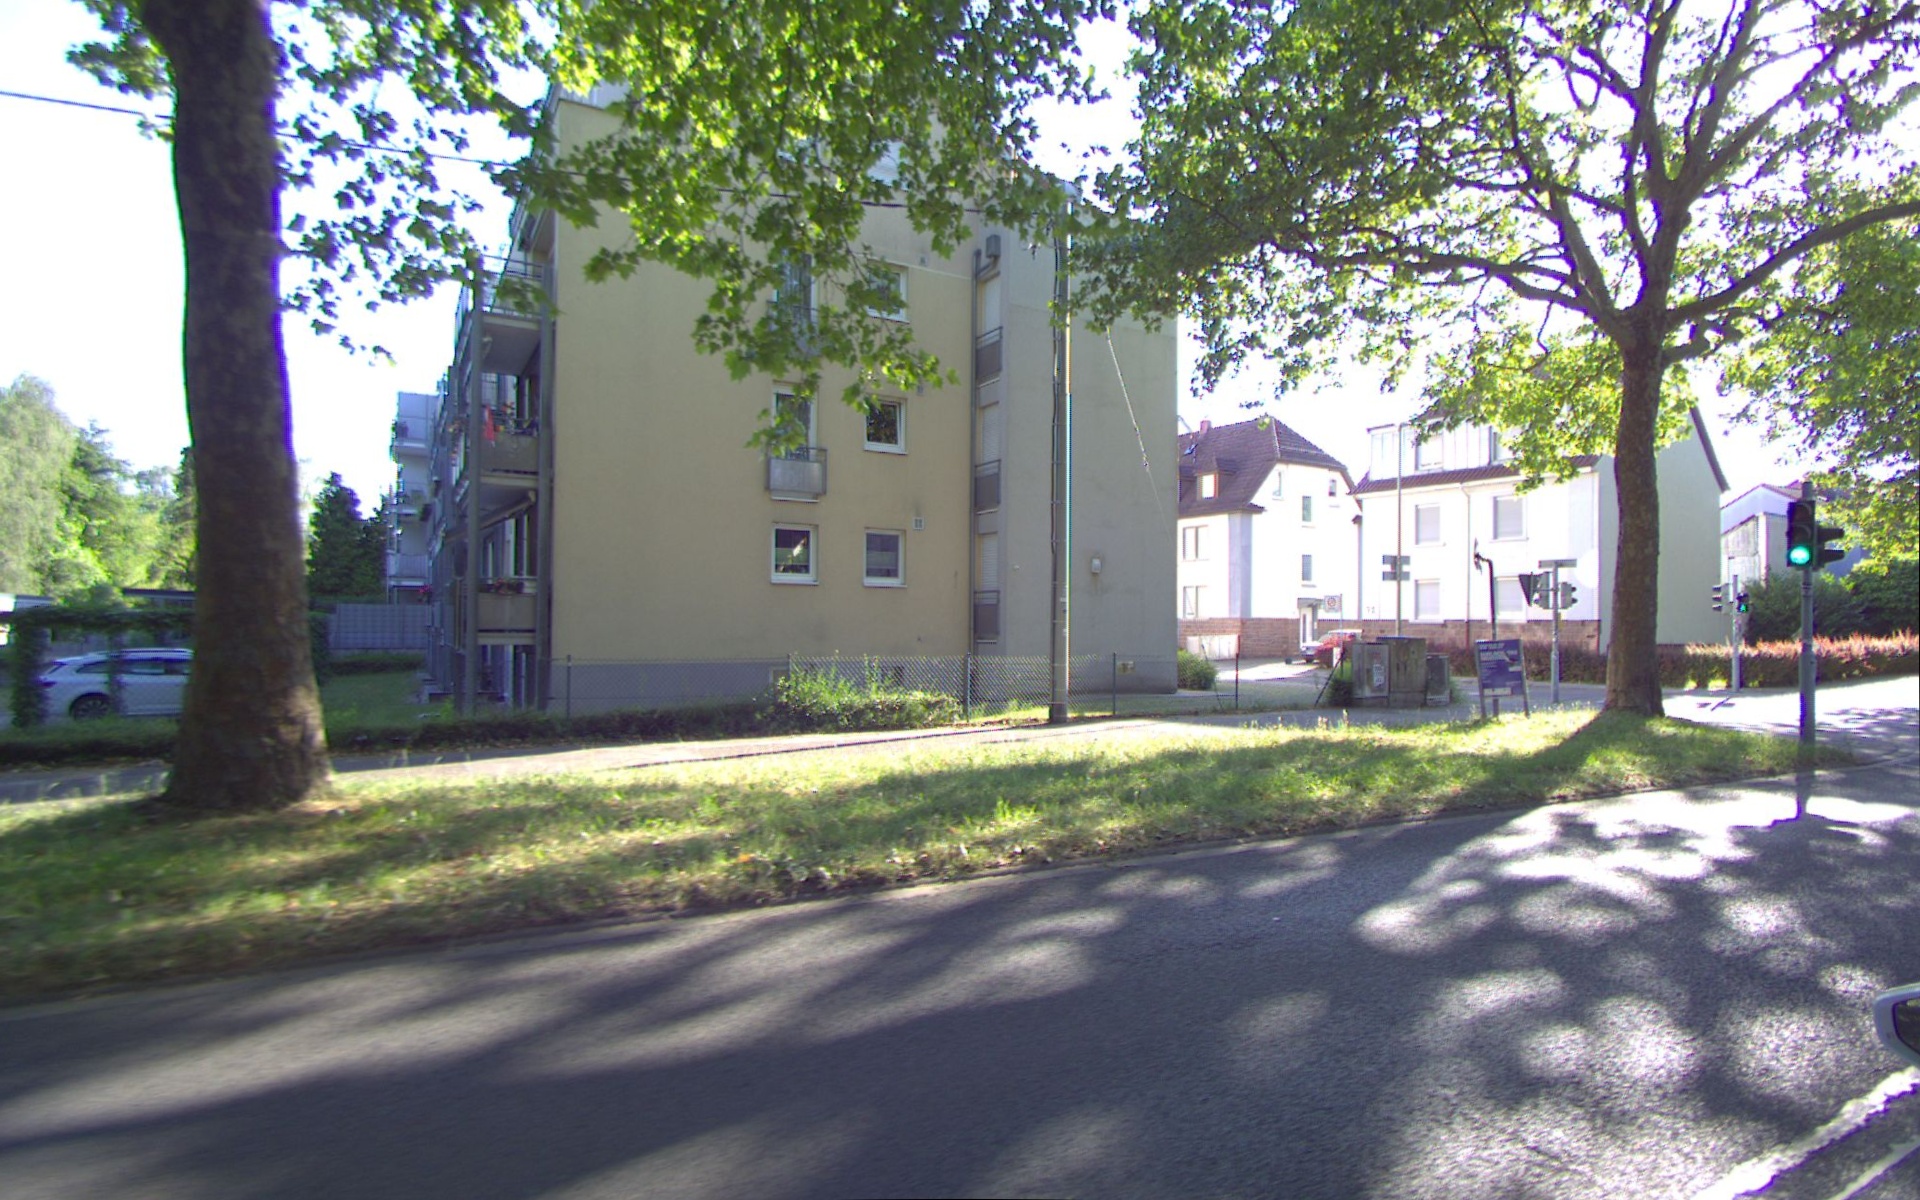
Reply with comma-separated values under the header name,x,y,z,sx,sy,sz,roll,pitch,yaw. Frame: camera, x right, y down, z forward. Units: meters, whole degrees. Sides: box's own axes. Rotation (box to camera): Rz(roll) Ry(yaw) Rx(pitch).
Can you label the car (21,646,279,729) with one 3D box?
name,x,y,z,sx,sy,sz,roll,pitch,yaw
car,-17.070,1.801,21.489,4.074,1.567,1.872,1,-2,-33
